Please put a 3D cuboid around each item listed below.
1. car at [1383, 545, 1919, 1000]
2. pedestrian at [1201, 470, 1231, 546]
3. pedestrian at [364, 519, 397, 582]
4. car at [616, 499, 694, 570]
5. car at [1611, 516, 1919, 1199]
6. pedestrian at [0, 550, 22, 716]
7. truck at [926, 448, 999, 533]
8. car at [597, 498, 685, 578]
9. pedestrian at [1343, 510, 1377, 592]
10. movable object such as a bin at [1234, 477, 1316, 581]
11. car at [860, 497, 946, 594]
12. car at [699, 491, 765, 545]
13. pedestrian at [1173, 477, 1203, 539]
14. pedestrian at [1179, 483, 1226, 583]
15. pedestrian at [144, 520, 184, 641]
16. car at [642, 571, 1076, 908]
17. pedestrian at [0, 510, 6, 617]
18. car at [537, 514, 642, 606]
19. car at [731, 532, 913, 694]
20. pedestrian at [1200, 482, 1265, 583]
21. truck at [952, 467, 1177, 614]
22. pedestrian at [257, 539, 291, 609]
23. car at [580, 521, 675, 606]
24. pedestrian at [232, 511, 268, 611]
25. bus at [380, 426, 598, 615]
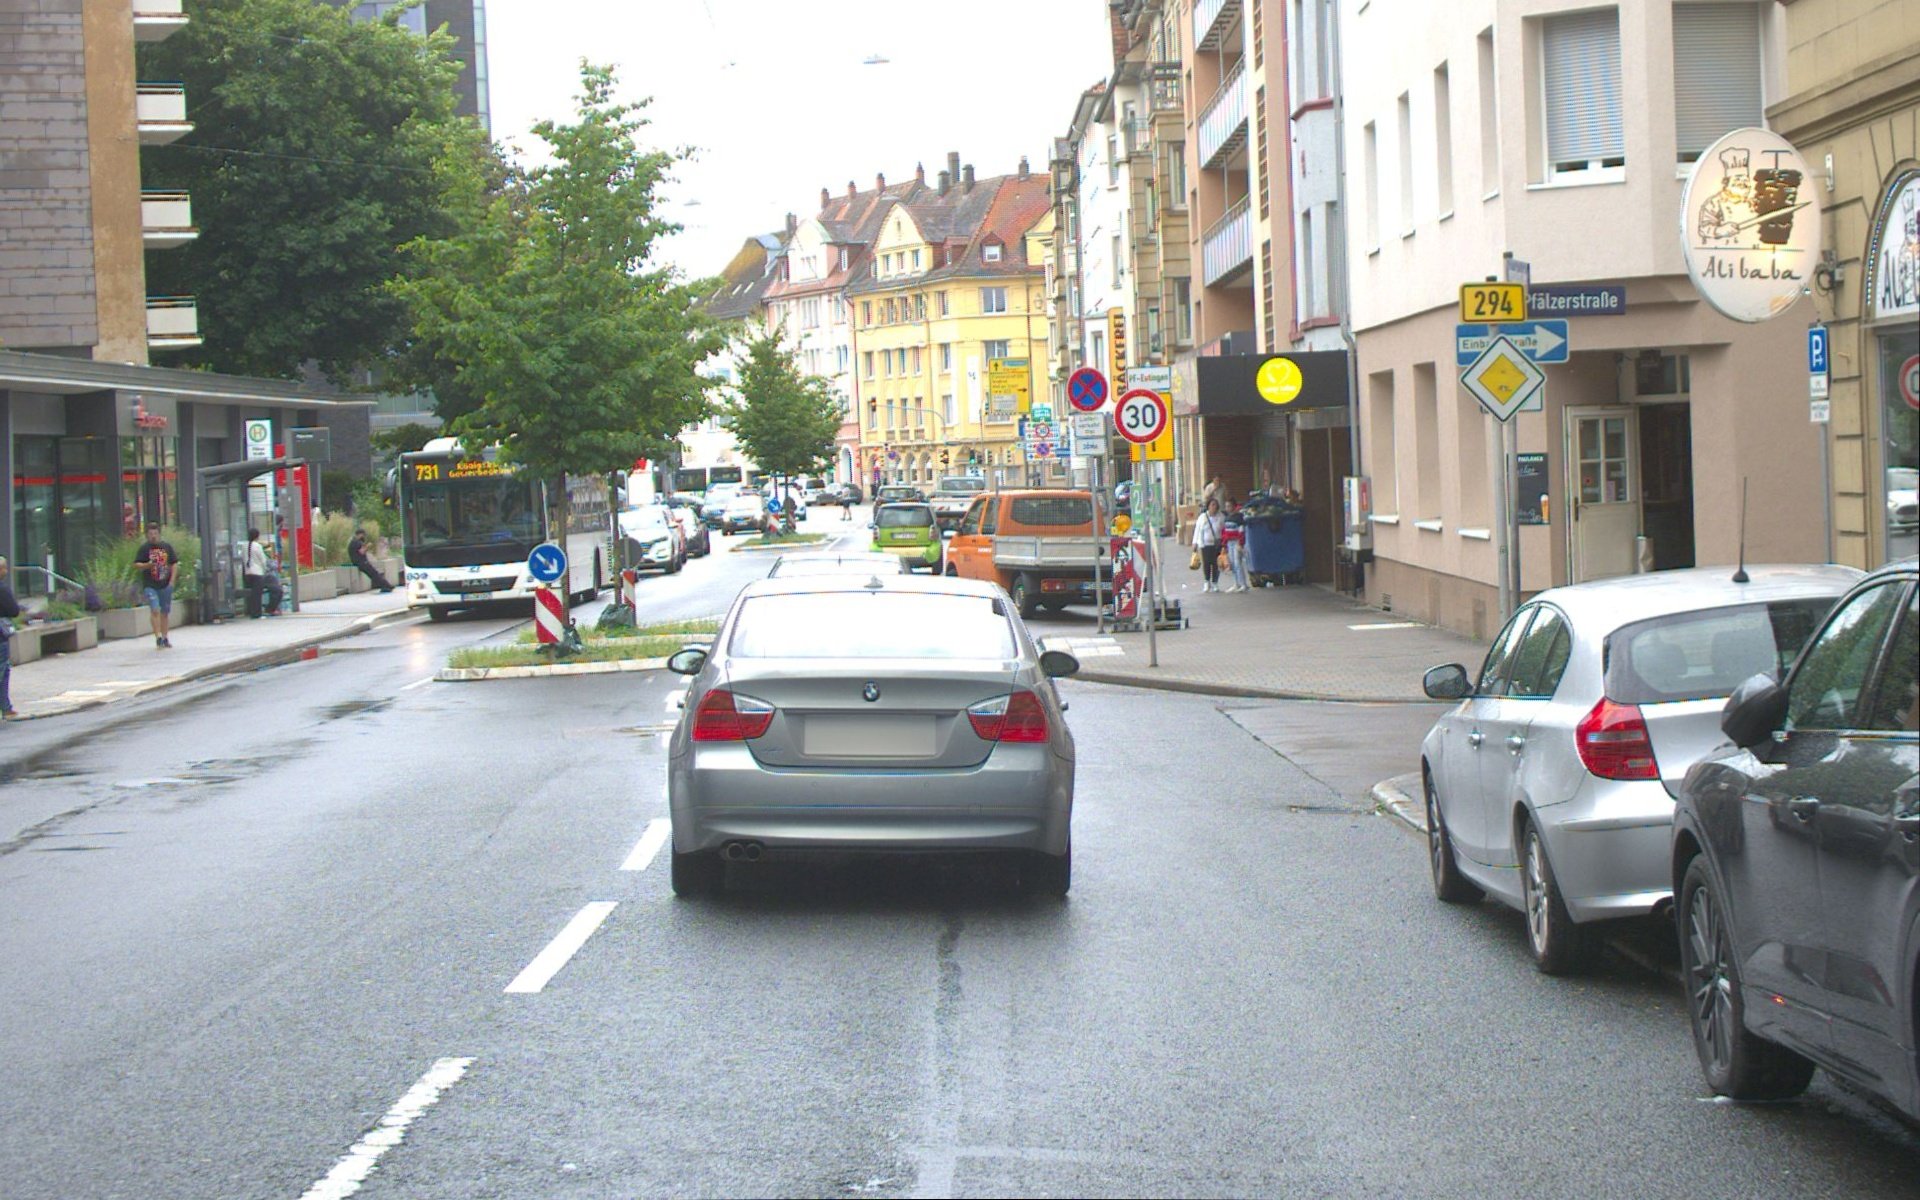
[{"bbox_3d":[2.767,0.557,13.765,1.569,1.459,4.089,-4,1,0],"label":"car"},{"bbox_3d":[5.660,-2.027,76.115,0.615,1.655,0.754,1,0,6],"label":"pedestrian"},{"bbox_3d":[-12.642,-1.078,75.001,0.619,1.373,0.544,1,0,1],"label":"pedestrian"},{"bbox_3d":[-8.951,-1.904,101.157,1.993,2.007,4.000,-1,0,-1],"label":"car"},{"bbox_3d":[2.903,0.556,8.188,1.818,1.552,4.293,-4,1,0],"label":"car"},{"bbox_3d":[-10.008,0.337,35.665,0.464,1.703,0.545,1,0,-20],"label":"pedestrian"},{"bbox_3d":[0.063,-3.476,110.325,2.216,2.535,4.780,1,0,-1],"label":"truck"},{"bbox_3d":[-8.390,-1.620,90.752,1.993,2.007,4.000,1,0,-1],"label":"car"},{"bbox_3d":[6.038,-0.737,51.888,0.412,1.199,0.357,-4,2,3],"label":"pedestrian"},{"bbox_3d":[5.359,-1.199,58.625,1.122,1.697,1.434,-3,0,-2],"label":"movable object such as a bin"},{"bbox_3d":[-1.251,-1.137,73.978,1.705,2.007,4.000,1,0,-3],"label":"car"},{"bbox_3d":[-8.920,-3.195,134.792,1.994,2.007,3.999,1,0,5],"label":"car"},{"bbox_3d":[5.272,-2.119,79.532,0.565,1.416,0.796,1,0,13],"label":"pedestrian"},{"bbox_3d":[4.113,-1.129,58.265,0.749,1.655,0.836,1,0,6],"label":"pedestrian"},{"bbox_3d":[-11.871,-0.293,51.268,0.542,1.784,0.466,1,0,-13],"label":"pedestrian"},{"bbox_3d":[-0.419,0.566,15.542,1.756,1.358,3.165,0,0,0],"label":"car"},{"bbox_3d":[-15.592,-0.590,54.743,0.659,1.700,0.660,1,0,-25],"label":"pedestrian"},{"bbox_3d":[-8.310,-0.872,77.347,1.993,2.007,4.000,0,0,-1],"label":"car"},{"bbox_3d":[-1.301,0.113,32.285,1.601,1.415,3.288,1,0,-3],"label":"car"},{"bbox_3d":[4.514,-1.109,56.974,0.752,1.655,0.752,1,0,-40],"label":"pedestrian"},{"bbox_3d":[1.545,-0.913,53.134,2.215,2.109,4.654,2,1,-14],"label":"truck"},{"bbox_3d":[-12.143,-0.458,60.825,0.465,1.226,0.544,1,0,1],"label":"pedestrian"},{"bbox_3d":[-8.113,-0.877,84.199,1.993,2.007,4.000,1,0,-1],"label":"car"},{"bbox_3d":[-12.176,-0.661,58.940,0.543,1.703,0.466,1,0,-7],"label":"pedestrian"},{"bbox_3d":[-8.689,-1.372,64.875,2.681,3.190,11.956,1,0,-1],"label":"bus"}]
